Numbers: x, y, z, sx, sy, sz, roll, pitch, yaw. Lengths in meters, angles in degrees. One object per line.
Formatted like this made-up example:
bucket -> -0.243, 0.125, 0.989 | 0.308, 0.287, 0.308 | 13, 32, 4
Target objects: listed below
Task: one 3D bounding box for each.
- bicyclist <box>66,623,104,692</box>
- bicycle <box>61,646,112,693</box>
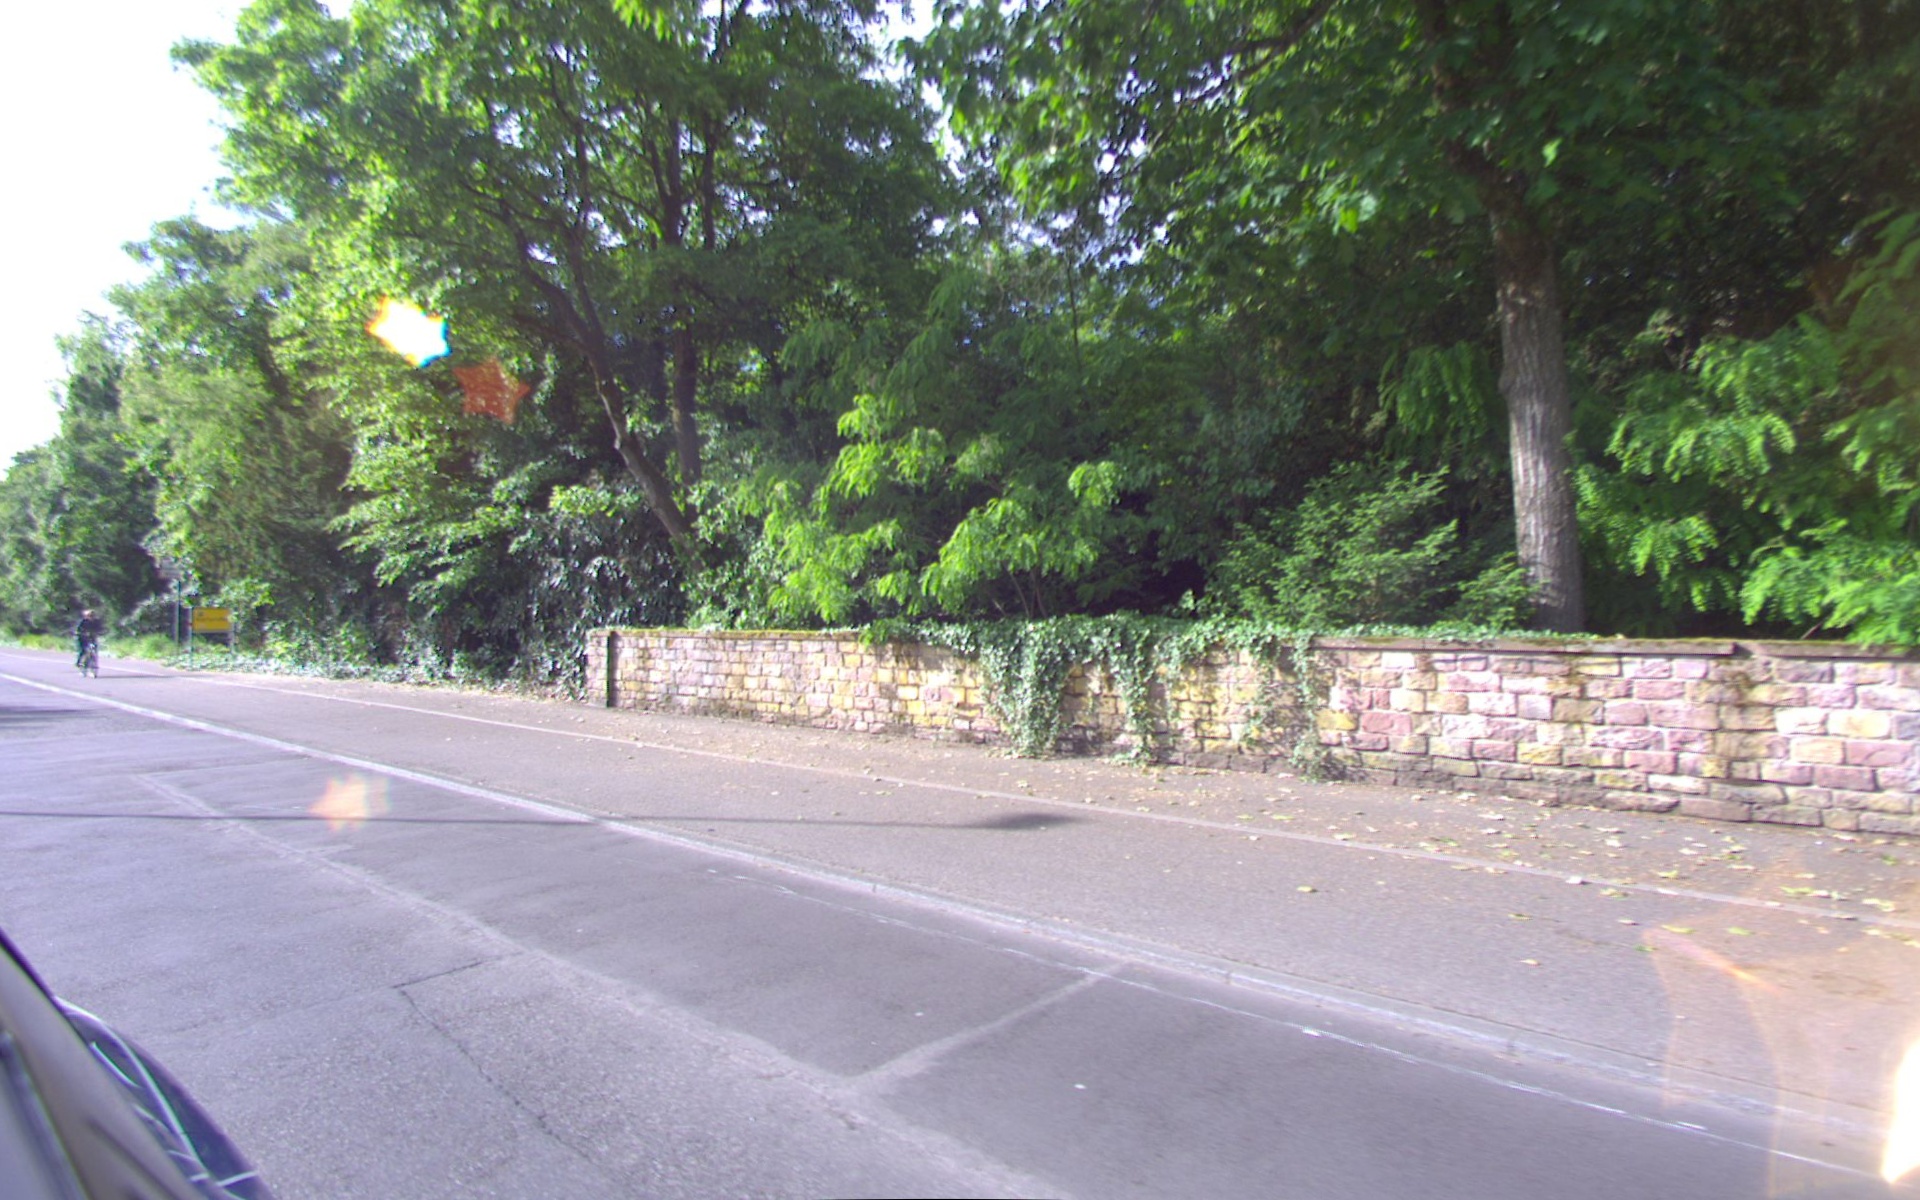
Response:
bicyclist -> -22.091, 1.432, 25.551 | 0.883, 1.689, 0.602 | -2, -1, 41
bicycle -> -22.071, 1.729, 25.548 | 2.347, 1.105, 0.655 | -1, -1, 41
